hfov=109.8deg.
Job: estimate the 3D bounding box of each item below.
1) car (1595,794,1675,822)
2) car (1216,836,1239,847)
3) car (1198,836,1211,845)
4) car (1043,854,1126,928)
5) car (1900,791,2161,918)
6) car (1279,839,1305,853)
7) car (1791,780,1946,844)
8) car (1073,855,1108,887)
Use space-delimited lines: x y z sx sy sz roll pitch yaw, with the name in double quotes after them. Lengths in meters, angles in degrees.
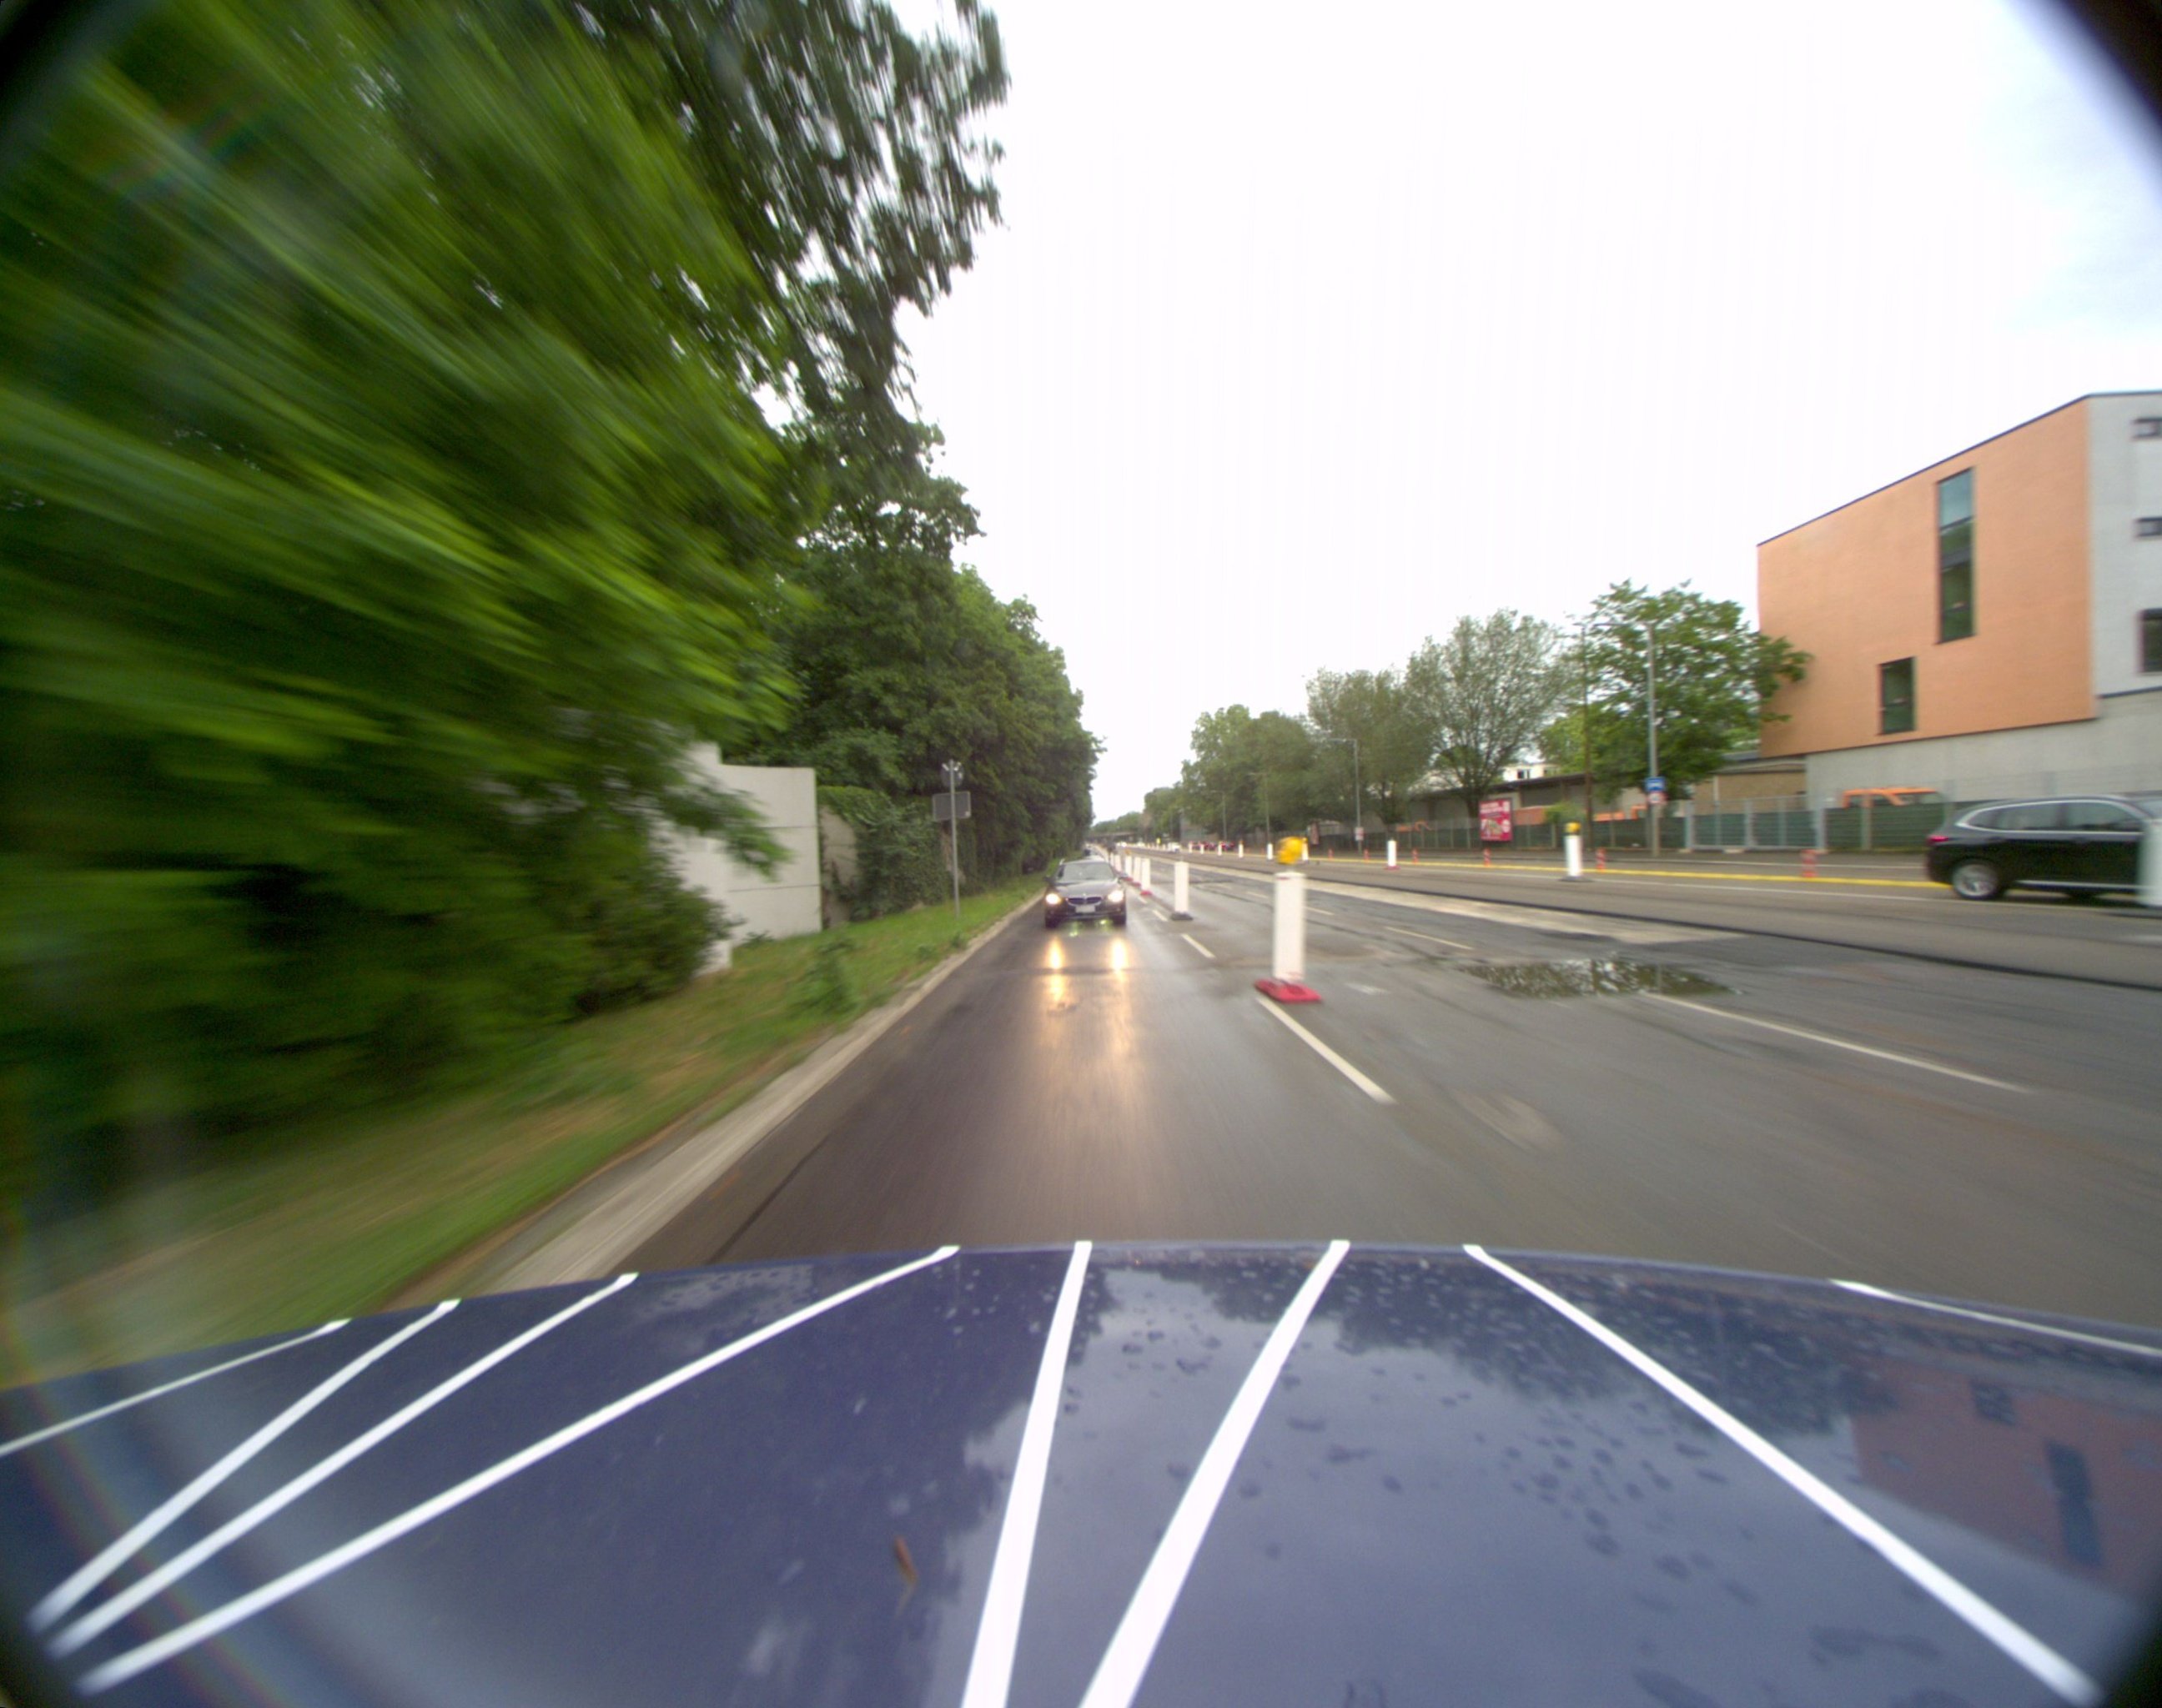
35.660 -2.929 48.934 4.012 1.519 2.004 -3 1 39 "car"
22.903 -1.968 119.105 1.866 1.621 4.322 -1 1 -16 "car"
23.398 -2.509 144.330 1.863 1.610 4.364 -1 1 1 "car"
0.135 0.824 19.027 1.742 1.454 4.457 -3 1 1 "car"
15.401 -0.017 10.857 1.999 1.696 4.983 -1 0 0 "car"
21.860 -0.843 78.850 1.557 1.360 3.804 -2 1 0 "car"
29.445 -1.489 28.605 1.614 2.158 3.999 -3 1 0 "car"
0.565 0.875 41.830 1.742 1.454 4.457 -3 1 1 "car"
